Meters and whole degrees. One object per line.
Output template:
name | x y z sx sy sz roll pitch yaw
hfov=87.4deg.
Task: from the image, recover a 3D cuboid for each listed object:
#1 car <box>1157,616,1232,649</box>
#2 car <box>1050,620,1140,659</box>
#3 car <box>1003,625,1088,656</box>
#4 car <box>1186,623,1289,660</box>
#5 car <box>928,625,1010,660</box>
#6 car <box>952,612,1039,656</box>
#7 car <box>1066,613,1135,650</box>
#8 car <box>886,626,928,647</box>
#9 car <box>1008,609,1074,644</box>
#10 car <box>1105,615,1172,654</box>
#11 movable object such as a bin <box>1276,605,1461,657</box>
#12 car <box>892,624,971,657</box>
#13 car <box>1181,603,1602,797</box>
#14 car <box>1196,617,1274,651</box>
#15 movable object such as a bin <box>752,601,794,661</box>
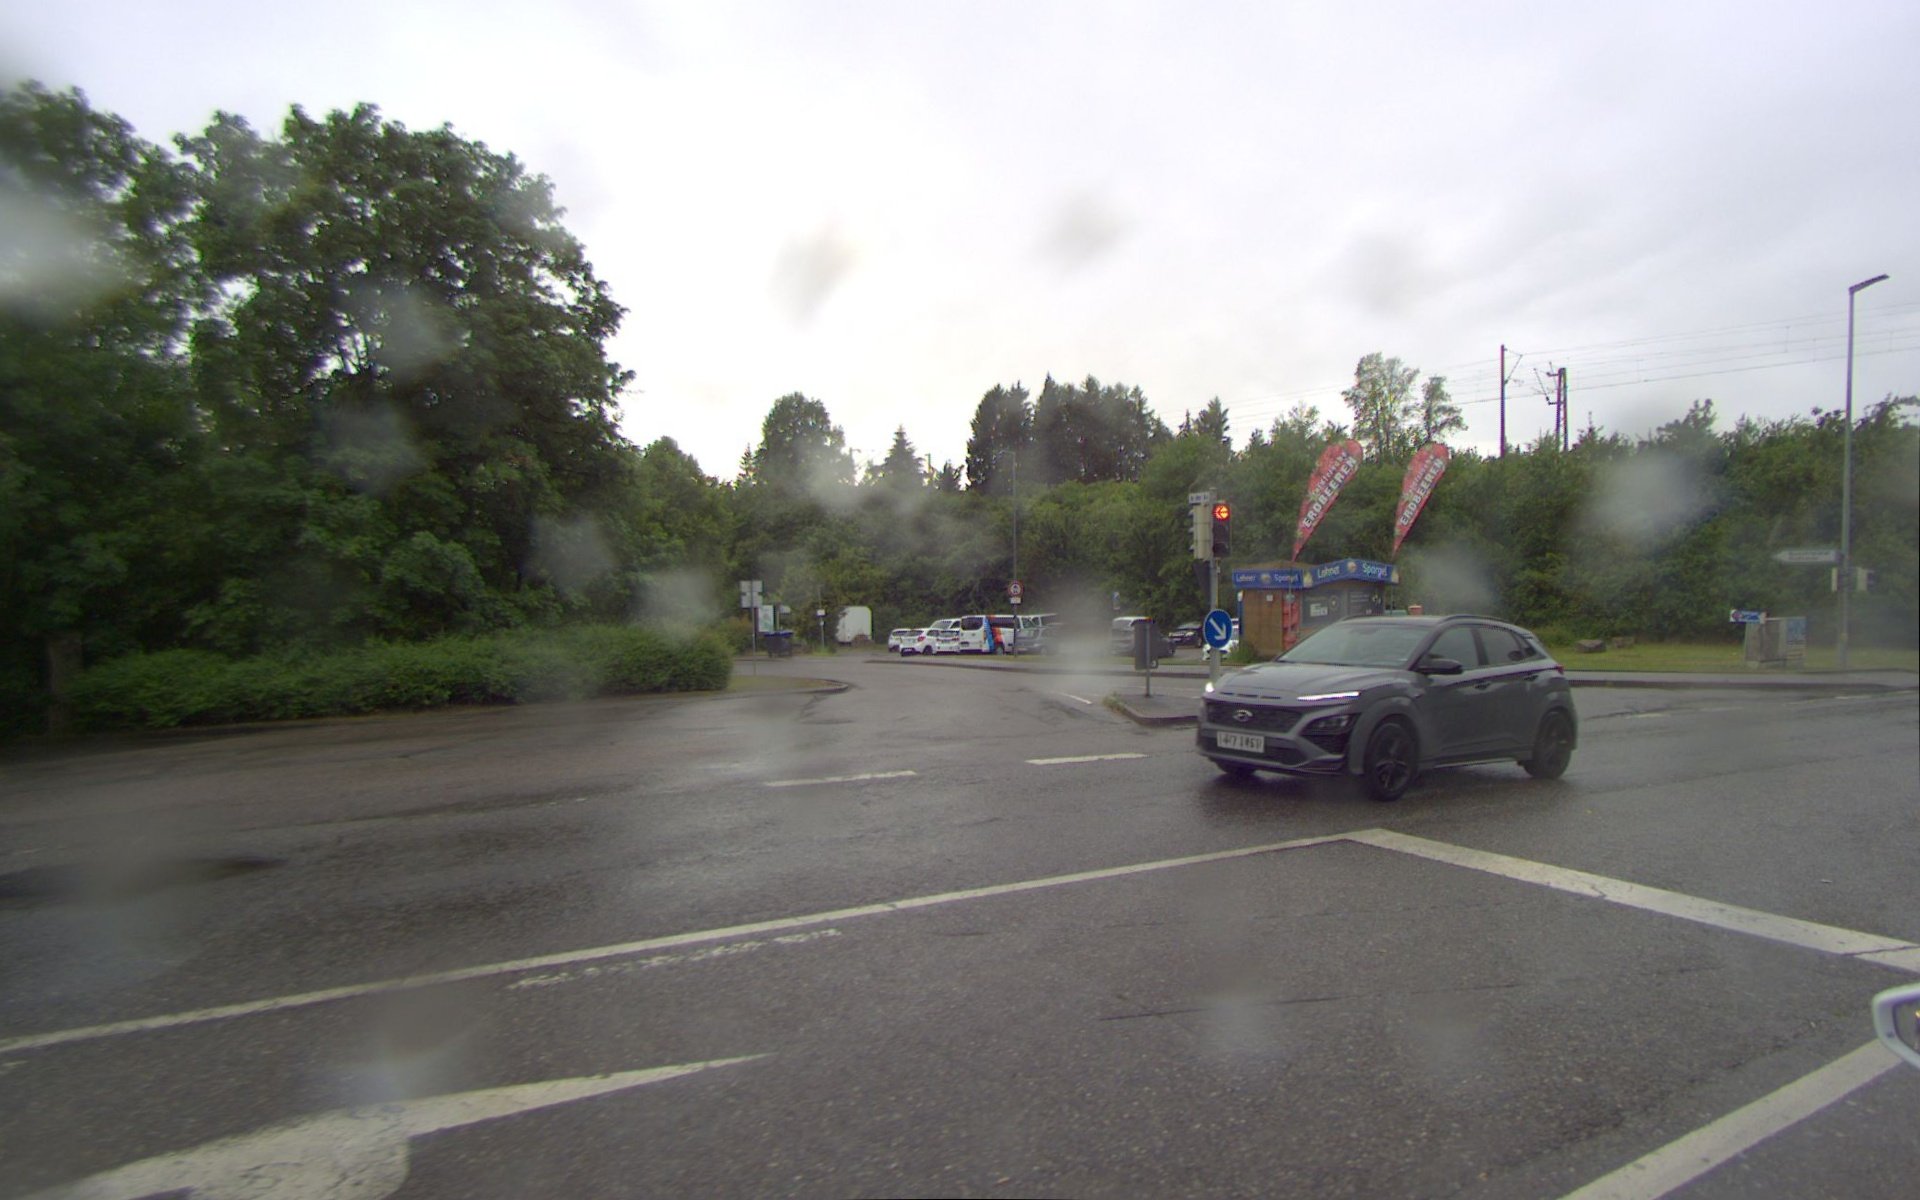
car | 12.289 1.717 52.566 3.972 1.606 1.975 3 -2 -43
car | 6.020 1.759 44.636 3.880 1.606 1.918 3 -2 -43
car | 3.977 1.875 46.338 3.972 1.327 1.734 3 -2 -43
car | 11.034 1.656 39.766 4.869 1.358 1.636 3 -2 -43
car | 0.490 2.084 49.519 1.834 1.606 3.978 1 -2 42
car | 1.713 1.623 47.587 1.971 1.974 3.978 1 -2 42
car | 8.136 1.809 57.989 3.973 2.040 1.974 2 -2 -44
car | -3.467 2.427 66.496 1.609 1.248 4.003 3 -1 14
car | 4.956 1.622 61.144 1.972 2.040 3.976 0 -1 44
car | 10.009 1.912 56.108 1.916 2.040 3.846 1 -1 43
movable object such as a bin | 14.481 1.088 36.003 5.663 1.649 2.753 1 -1 10
car | -1.427 2.088 51.414 1.813 1.606 3.979 1 -2 42
car | 4.117 0.807 9.428 3.954 1.489 1.631 1 -1 -31
car | 13.835 1.717 50.471 3.972 1.606 1.975 3 -2 -43
movable object such as a bin | -10.296 1.687 55.330 1.765 3.192 1.304 1 -1 28
